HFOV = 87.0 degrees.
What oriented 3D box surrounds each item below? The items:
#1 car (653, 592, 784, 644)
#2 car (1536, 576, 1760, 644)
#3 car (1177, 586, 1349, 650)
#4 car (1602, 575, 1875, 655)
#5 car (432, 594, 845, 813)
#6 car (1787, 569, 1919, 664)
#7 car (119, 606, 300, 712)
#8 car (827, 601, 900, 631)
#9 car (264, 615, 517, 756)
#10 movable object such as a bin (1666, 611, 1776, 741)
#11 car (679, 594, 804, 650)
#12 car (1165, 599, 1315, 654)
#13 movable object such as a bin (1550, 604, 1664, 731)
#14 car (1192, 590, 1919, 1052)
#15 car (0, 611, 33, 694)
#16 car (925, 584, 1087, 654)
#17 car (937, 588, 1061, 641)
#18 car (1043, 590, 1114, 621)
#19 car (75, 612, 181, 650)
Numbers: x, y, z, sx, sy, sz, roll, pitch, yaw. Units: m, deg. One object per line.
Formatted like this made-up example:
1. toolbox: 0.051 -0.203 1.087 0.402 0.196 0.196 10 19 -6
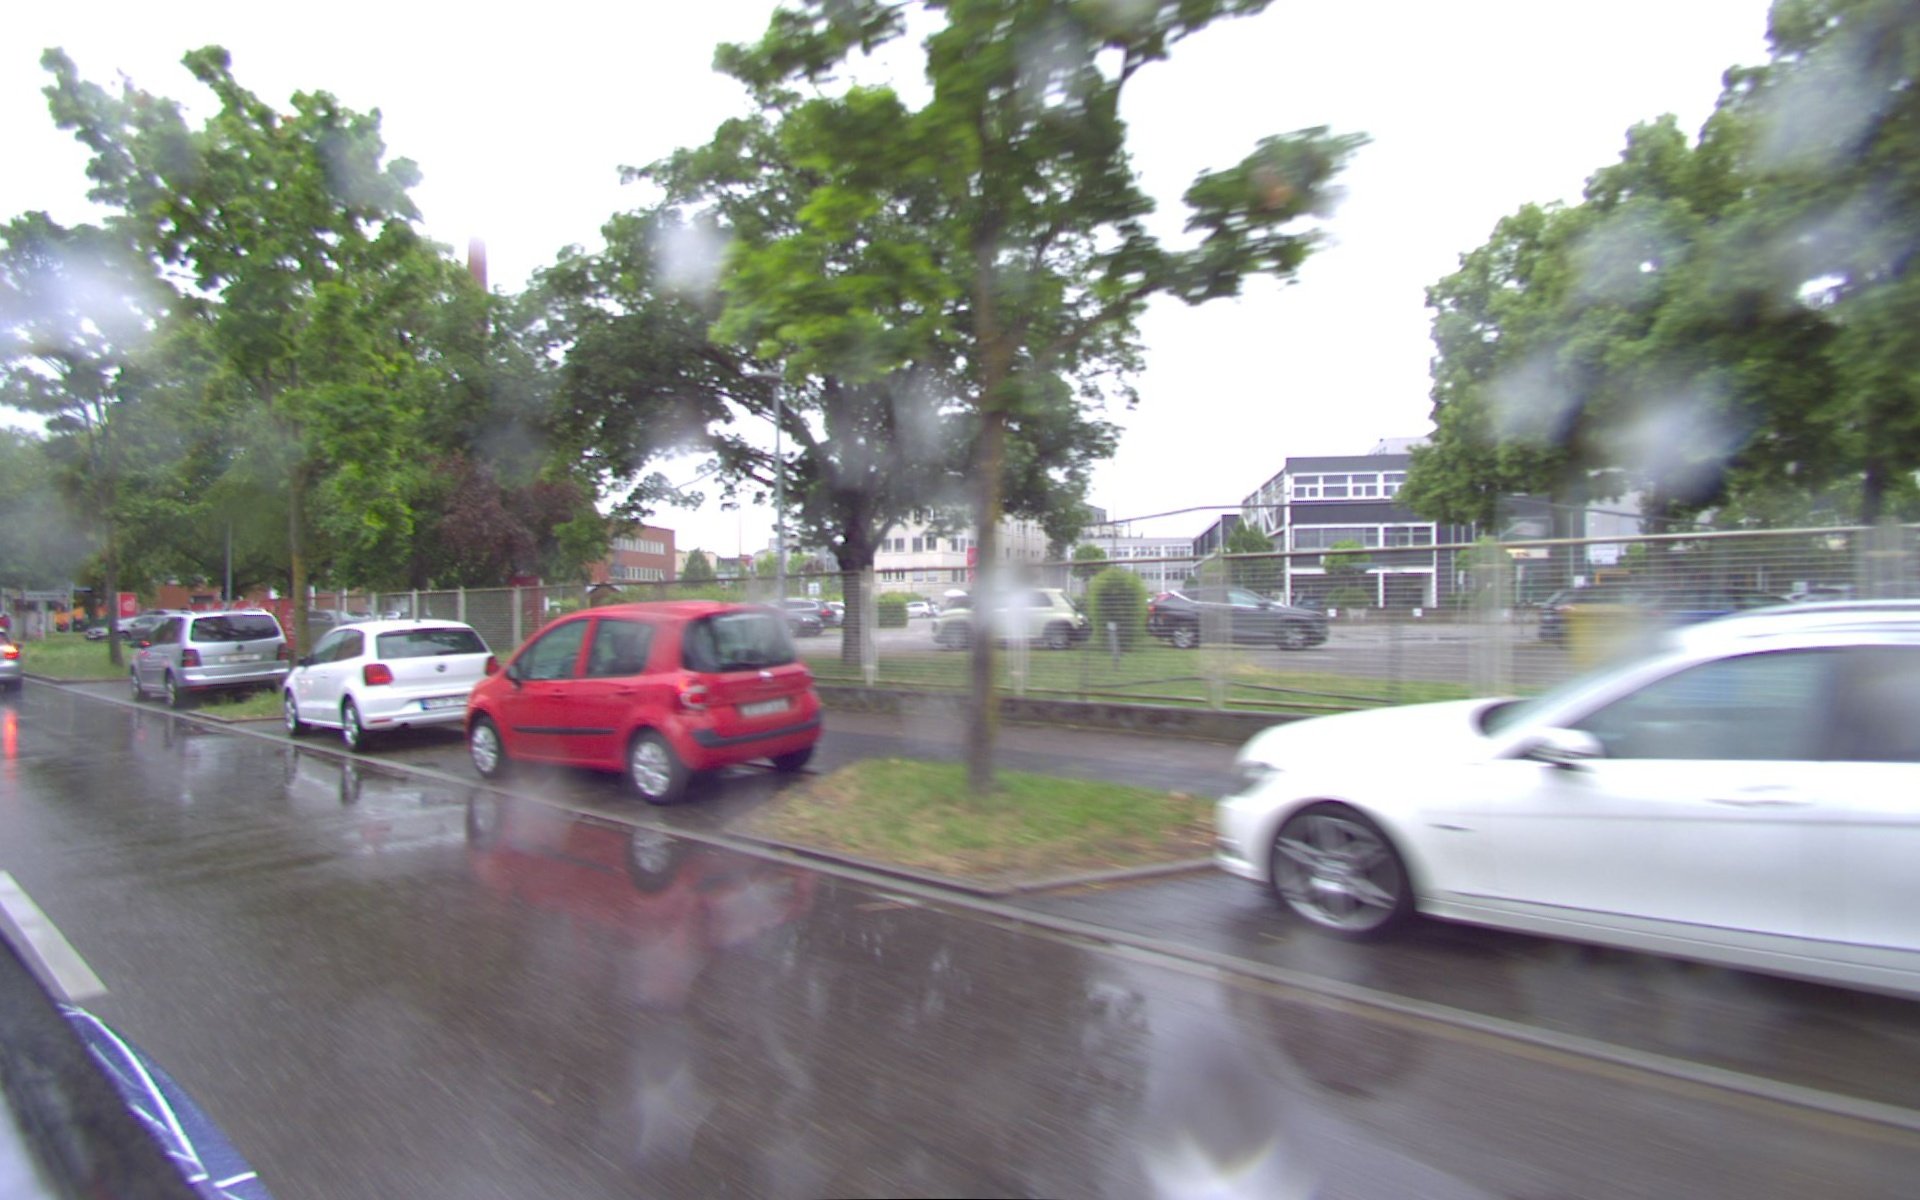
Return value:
1. car: -8.154 0.612 34.321 3.954 1.683 1.766 -1 0 9
2. car: 16.091 0.251 23.880 3.960 1.506 1.752 -1 0 13
3. car: 7.466 0.456 25.273 3.960 1.506 1.752 -1 0 13
4. car: 15.588 0.310 20.501 3.960 1.506 1.752 -1 0 13
5. car: -3.004 0.778 9.189 3.789 1.610 1.610 -1 0 35
6. car: 22.409 0.351 23.327 4.670 2.099 2.142 -1 0 11
7. car: -13.749 0.983 18.470 4.036 1.695 1.858 -1 0 41
8. car: -5.667 0.948 59.623 3.954 1.683 1.766 -1 0 9
9. car: -7.192 0.942 12.634 3.718 1.465 1.672 -1 0 42
10. movable object such as a bin: 5.927 0.566 7.880 0.638 0.956 0.532 -1 0 41
11. car: -7.833 0.779 36.435 3.954 1.896 1.995 -1 0 9
12. car: 7.885 0.738 28.798 3.960 1.506 1.752 -1 0 13
13. movable object such as a bin: 5.377 0.535 8.412 0.713 0.993 0.540 -1 0 41
14. car: 3.467 0.703 4.036 4.676 1.471 1.757 -1 0 40
15. car: -22.203 1.134 22.470 4.174 1.755 2.043 -1 0 42
16. car: 1.223 0.479 25.896 3.954 1.683 2.062 -1 0 9
17. car: 1.358 0.484 33.976 3.954 1.683 2.062 -1 0 9
18. car: 6.829 0.300 58.124 3.954 1.683 2.062 -1 0 9
19. car: -42.421 1.543 51.729 1.975 1.775 3.994 -1 0 5
